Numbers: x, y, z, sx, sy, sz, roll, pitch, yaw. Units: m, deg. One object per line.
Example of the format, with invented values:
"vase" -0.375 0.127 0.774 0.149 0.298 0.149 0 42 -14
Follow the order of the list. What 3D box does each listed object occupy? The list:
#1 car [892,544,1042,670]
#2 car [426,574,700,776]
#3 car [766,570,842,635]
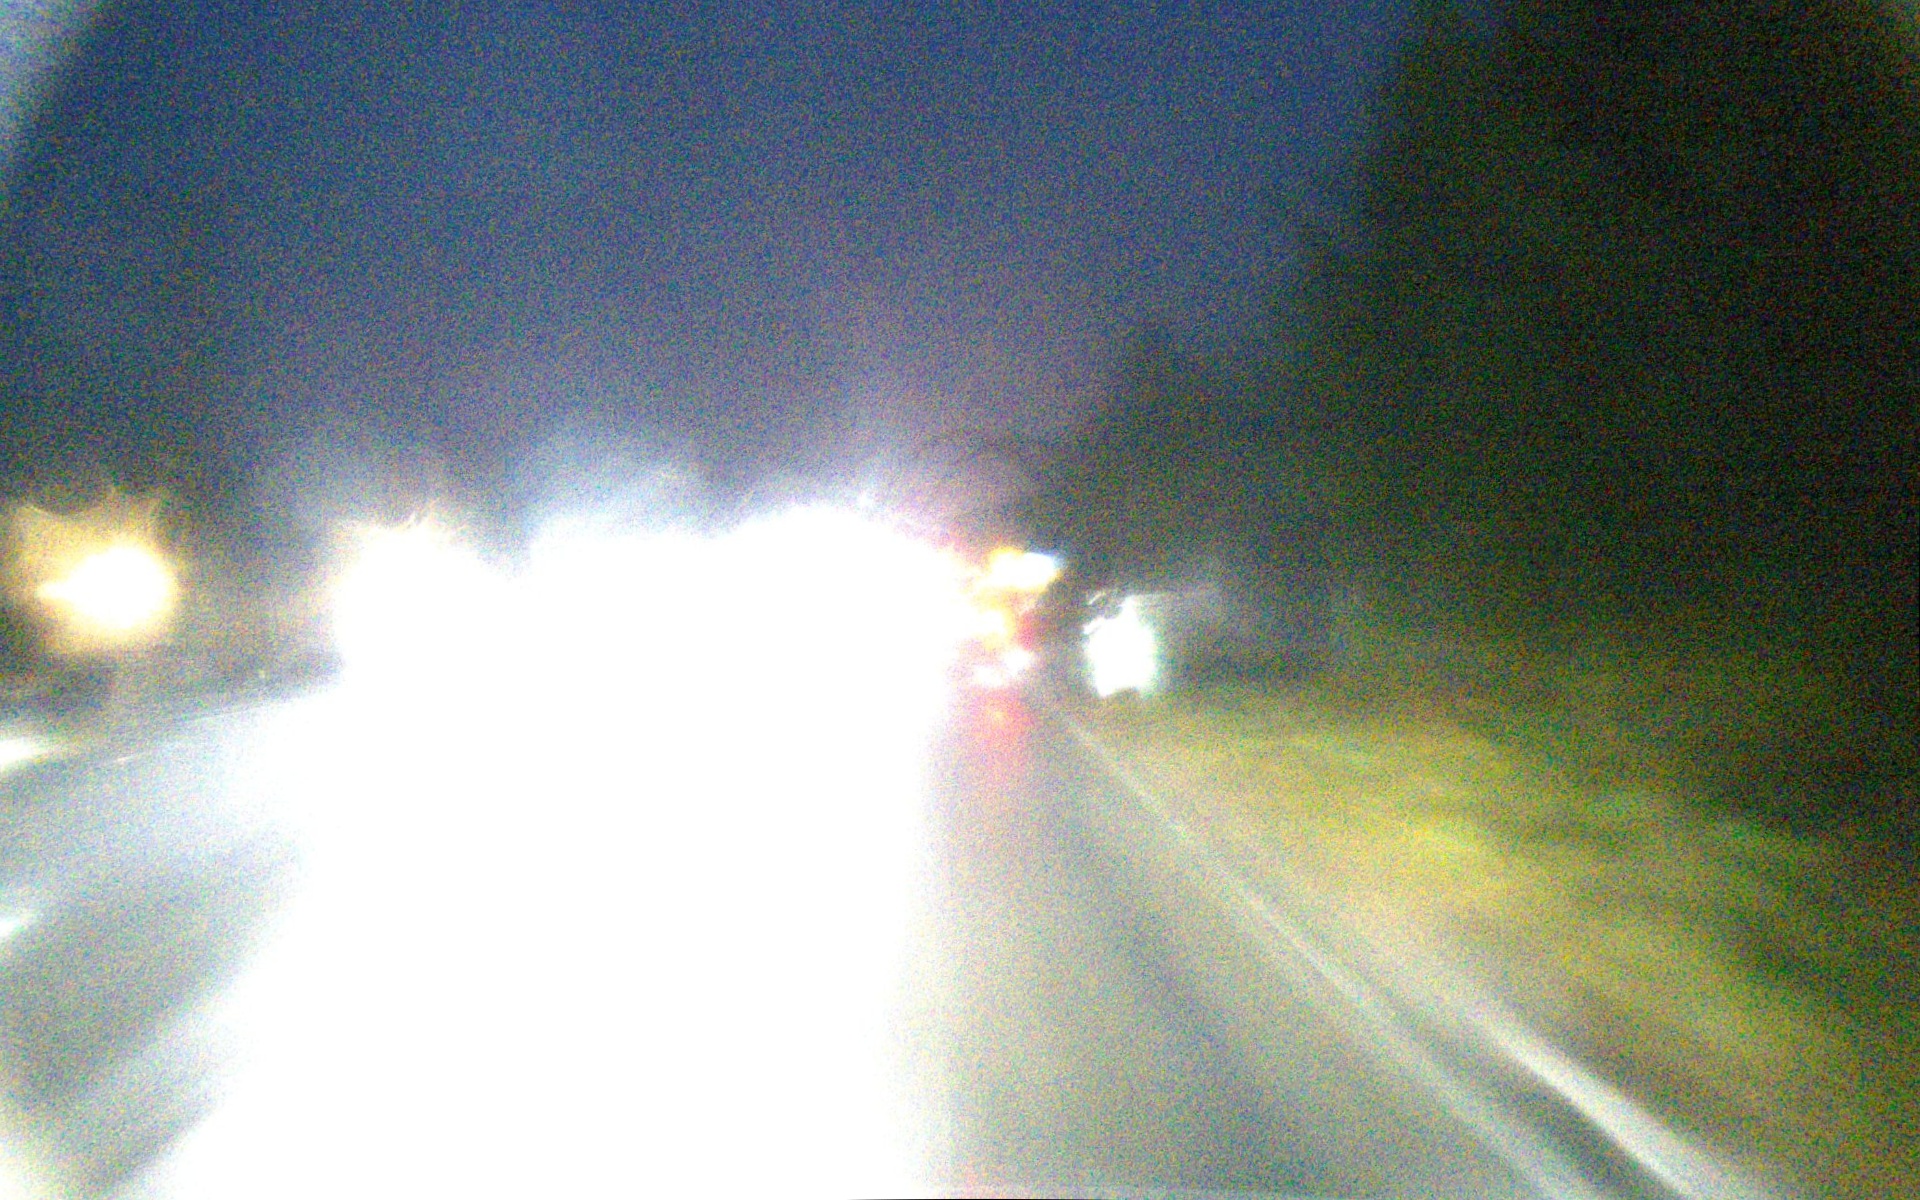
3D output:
"car" 0.014 0.121 29.320 2.408 1.993 4.909 -1 0 -3
"car" -3.548 0.587 15.468 1.759 1.564 3.798 -3 1 -3
"car" -4.520 0.025 48.369 1.818 1.712 4.324 -3 1 -1
